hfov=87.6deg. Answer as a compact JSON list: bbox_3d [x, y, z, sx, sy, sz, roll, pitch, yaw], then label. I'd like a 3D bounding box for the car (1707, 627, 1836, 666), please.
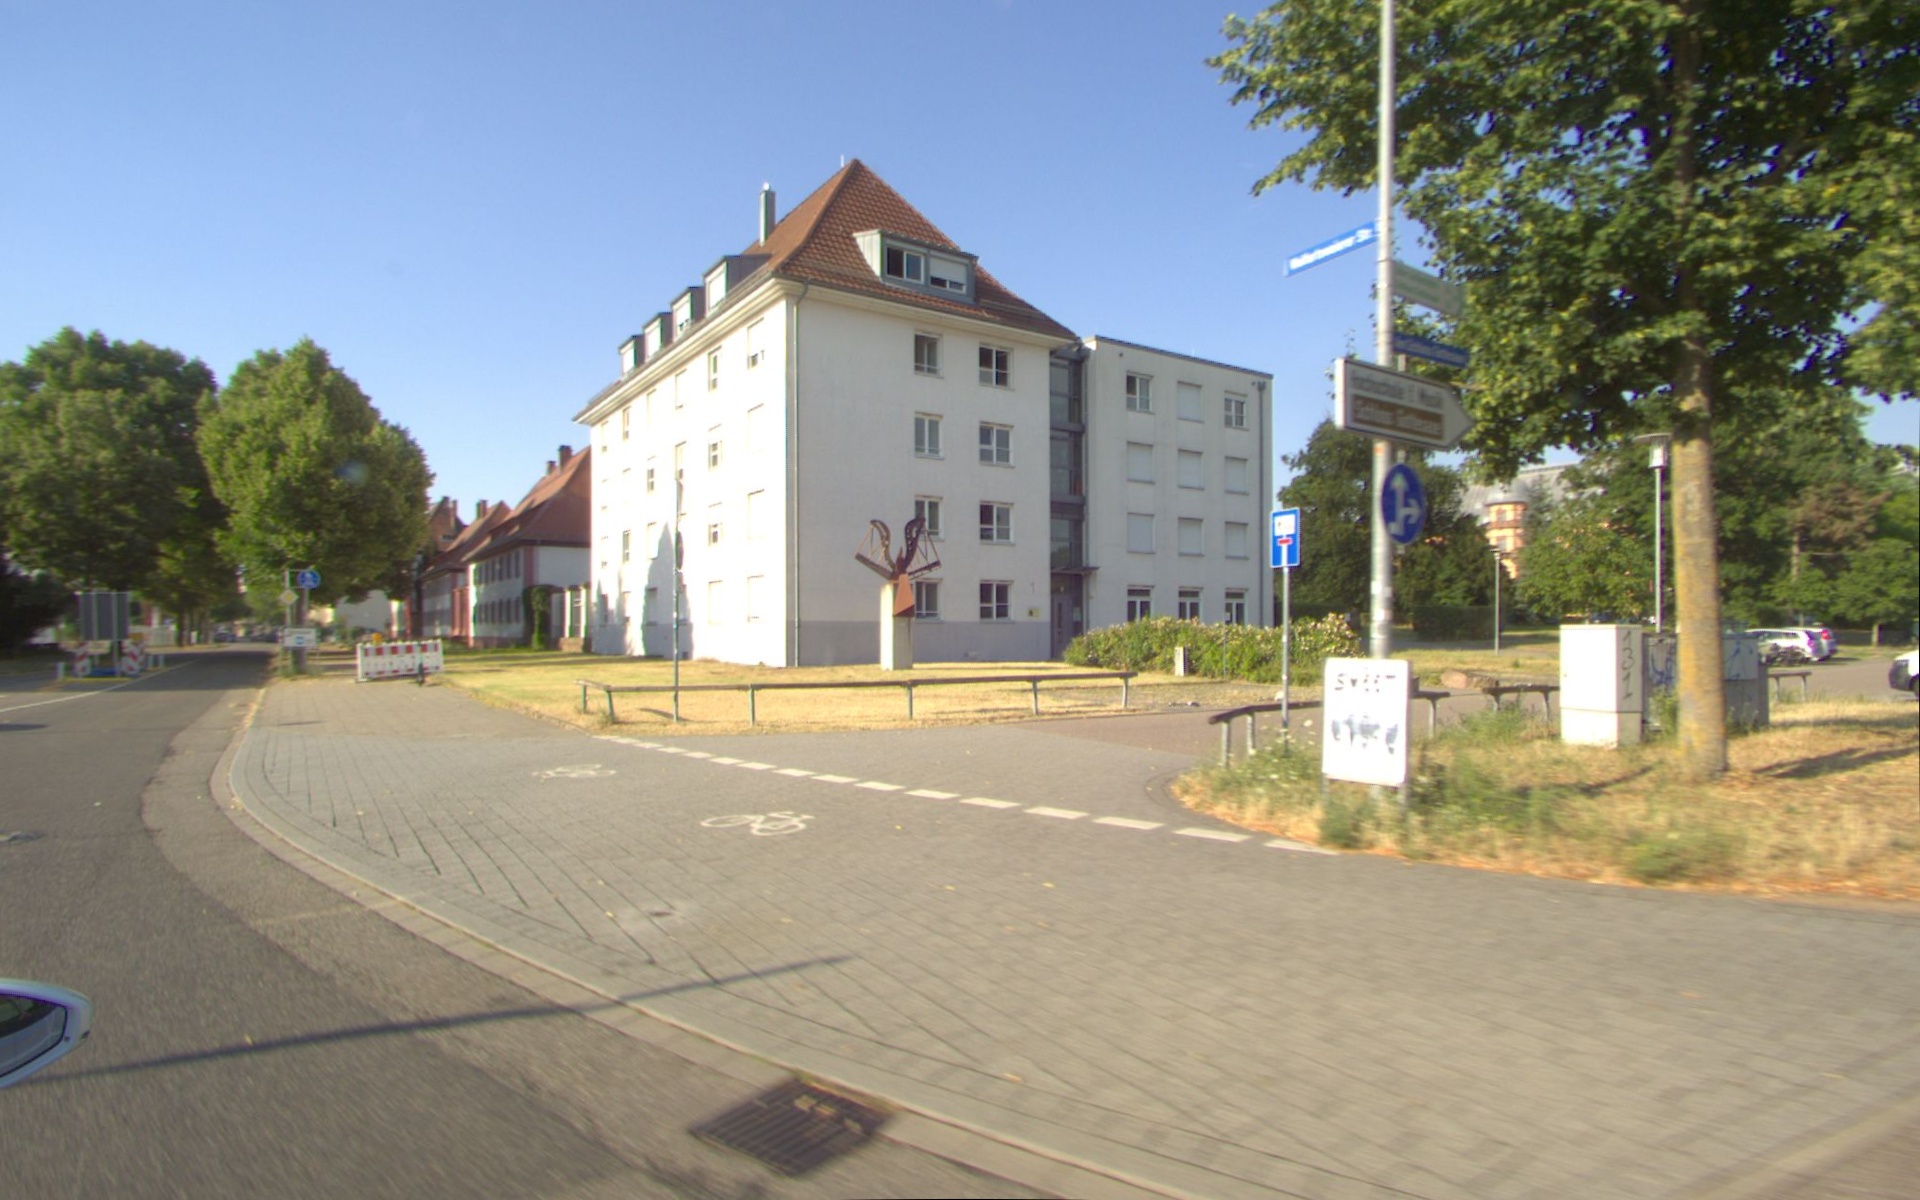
[{"bbox_3d":[35.142,1.977,43.447,1.975,1.550,3.973,0,-1,-35],"label":"car"}]

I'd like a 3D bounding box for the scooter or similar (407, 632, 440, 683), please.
[{"bbox_3d":[-14.571,1.540,27.184,0.553,1.310,1.454,-5,2,-34],"label":"scooter or similar"}]

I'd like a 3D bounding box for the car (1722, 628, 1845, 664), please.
[{"bbox_3d":[37.590,2.061,45.794,1.975,1.549,3.973,1,-2,-35],"label":"car"}]

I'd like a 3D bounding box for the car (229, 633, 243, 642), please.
[{"bbox_3d":[-137.434,7.112,190.022,1.977,1.709,3.969,0,-2,-39],"label":"car"}]

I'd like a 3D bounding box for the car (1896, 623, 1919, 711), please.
[{"bbox_3d":[24.206,1.462,21.823,2.240,2.039,5.188,0,-3,-34],"label":"car"}]

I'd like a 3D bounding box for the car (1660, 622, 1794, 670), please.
[{"bbox_3d":[31.062,1.823,40.647,1.869,1.817,3.973,1,-1,-35],"label":"car"}]

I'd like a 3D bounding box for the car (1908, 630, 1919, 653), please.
[{"bbox_3d":[64.375,2.698,64.917,1.975,1.549,3.973,1,-2,-35],"label":"car"}]

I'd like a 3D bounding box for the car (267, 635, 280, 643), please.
[{"bbox_3d":[-129.089,7.347,188.371,1.700,1.505,3.969,0,-2,-39],"label":"car"}]
